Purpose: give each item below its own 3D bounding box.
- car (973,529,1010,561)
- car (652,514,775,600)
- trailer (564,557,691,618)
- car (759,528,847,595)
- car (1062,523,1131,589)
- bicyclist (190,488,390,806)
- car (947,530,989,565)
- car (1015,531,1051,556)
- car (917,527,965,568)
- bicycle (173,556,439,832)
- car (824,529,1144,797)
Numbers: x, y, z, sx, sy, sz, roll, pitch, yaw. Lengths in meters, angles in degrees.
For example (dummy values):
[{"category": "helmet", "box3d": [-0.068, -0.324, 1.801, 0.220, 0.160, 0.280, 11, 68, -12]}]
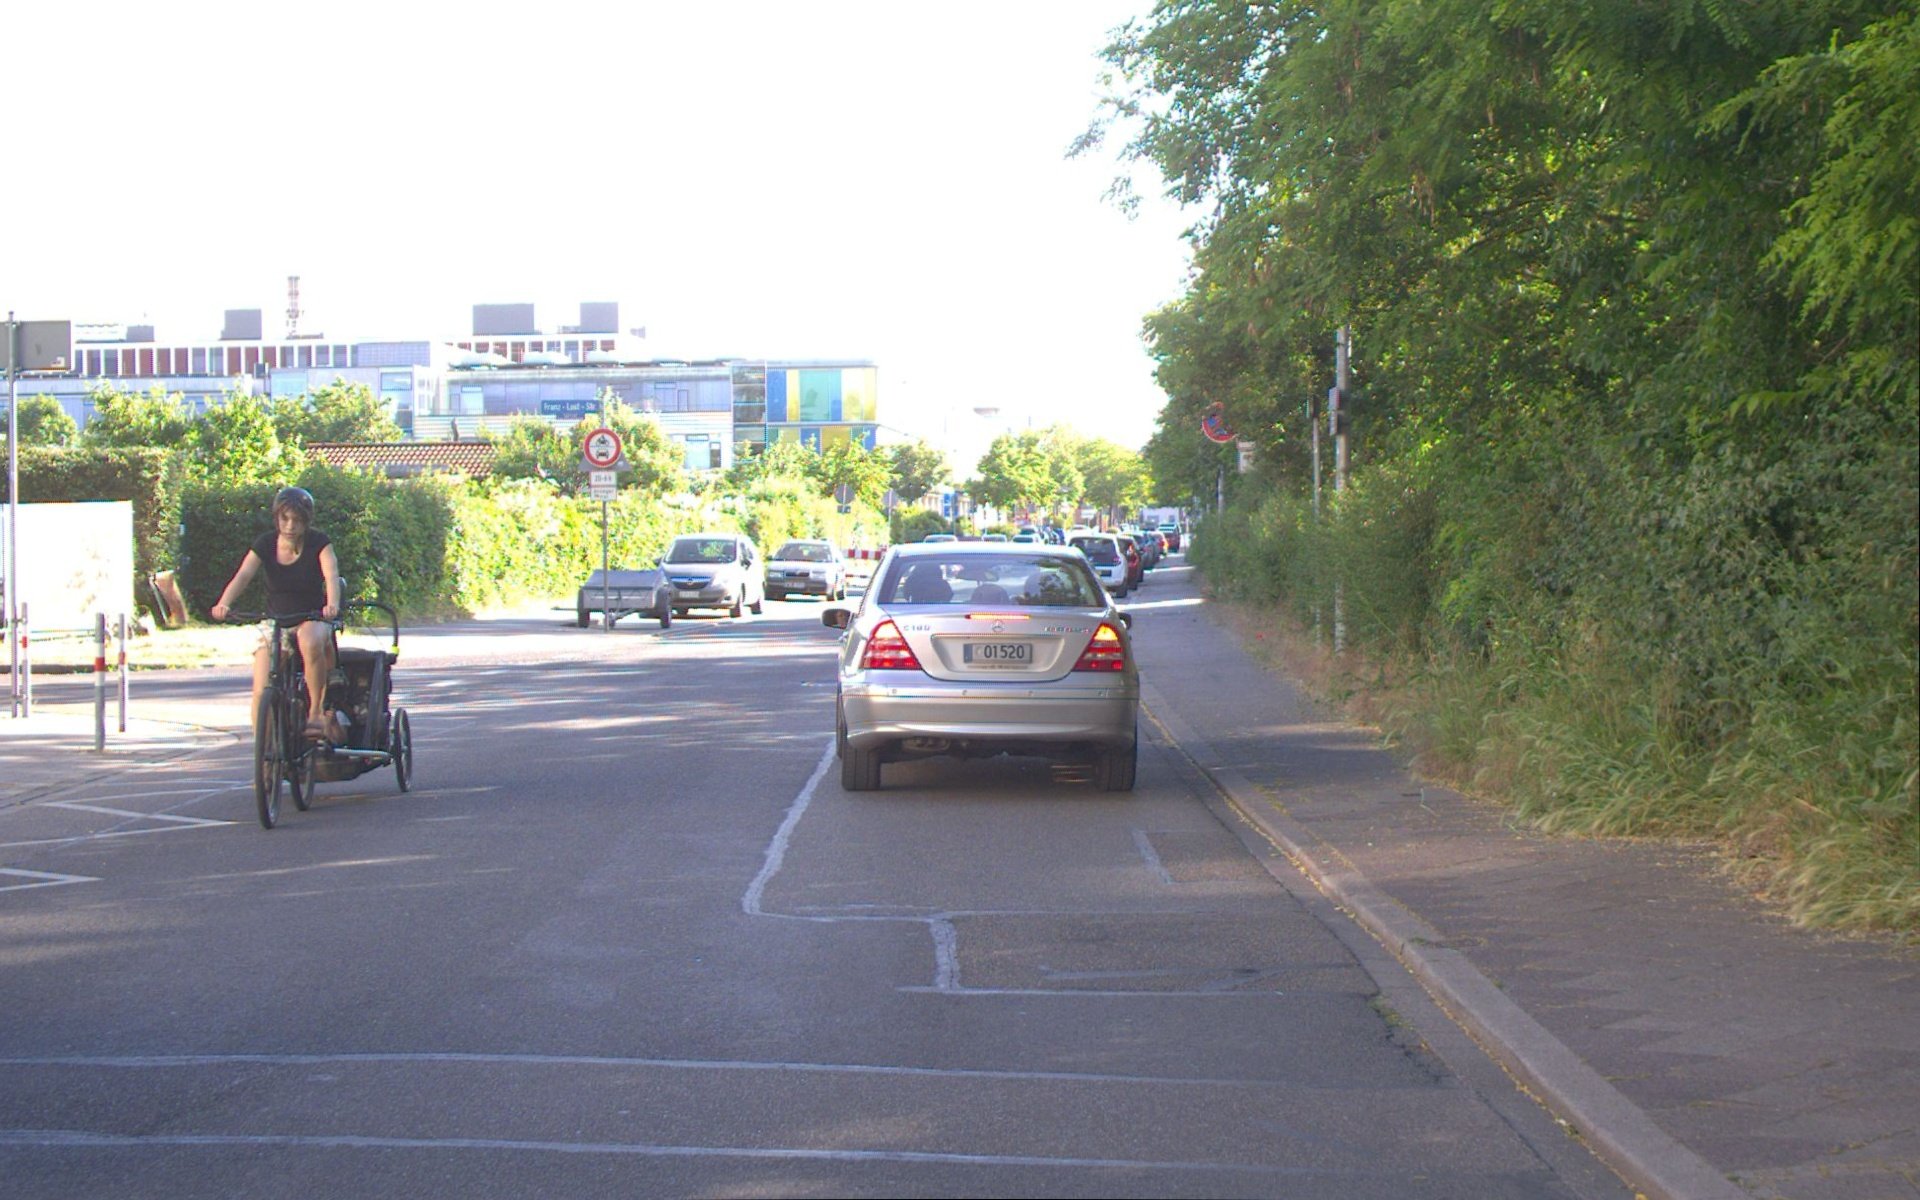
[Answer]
[{"category": "car", "box3d": [1.534, -2.668, 166.019, 1.560, 1.489, 3.758, -1, 1, 4]}, {"category": "car", "box3d": [-4.723, -0.843, 66.345, 1.644, 1.594, 4.311, 1, 1, 6]}, {"category": "trailer", "box3d": [-5.419, -0.220, 56.239, 1.544, 0.950, 2.646, 1, 1, 6]}, {"category": "car", "box3d": [-3.802, -0.948, 83.928, 1.643, 1.551, 4.417, -1, 1, 4]}, {"category": "car", "box3d": [3.343, -1.077, 83.678, 1.556, 1.533, 3.555, 1, 1, 4]}, {"category": "bicyclist", "box3d": [-3.588, 0.236, 18.495, 0.844, 1.652, 1.064, -1, 1, 0]}, {"category": "car", "box3d": [0.365, -2.284, 149.020, 1.560, 1.489, 3.570, 2, 1, 4]}, {"category": "car", "box3d": [4.179, -3.208, 195.226, 1.854, 1.423, 4.134, 1, 1, 4]}, {"category": "car", "box3d": [-0.709, -2.005, 130.916, 1.560, 1.489, 3.570, -1, 1, 4]}, {"category": "bicycle", "box3d": [-3.558, 0.458, 19.035, 0.851, 1.366, 3.220, -1, 1, 0]}, {"category": "car", "box3d": [0.089, 0.305, 20.698, 1.737, 1.448, 4.000, 0, 1, -1]}]
